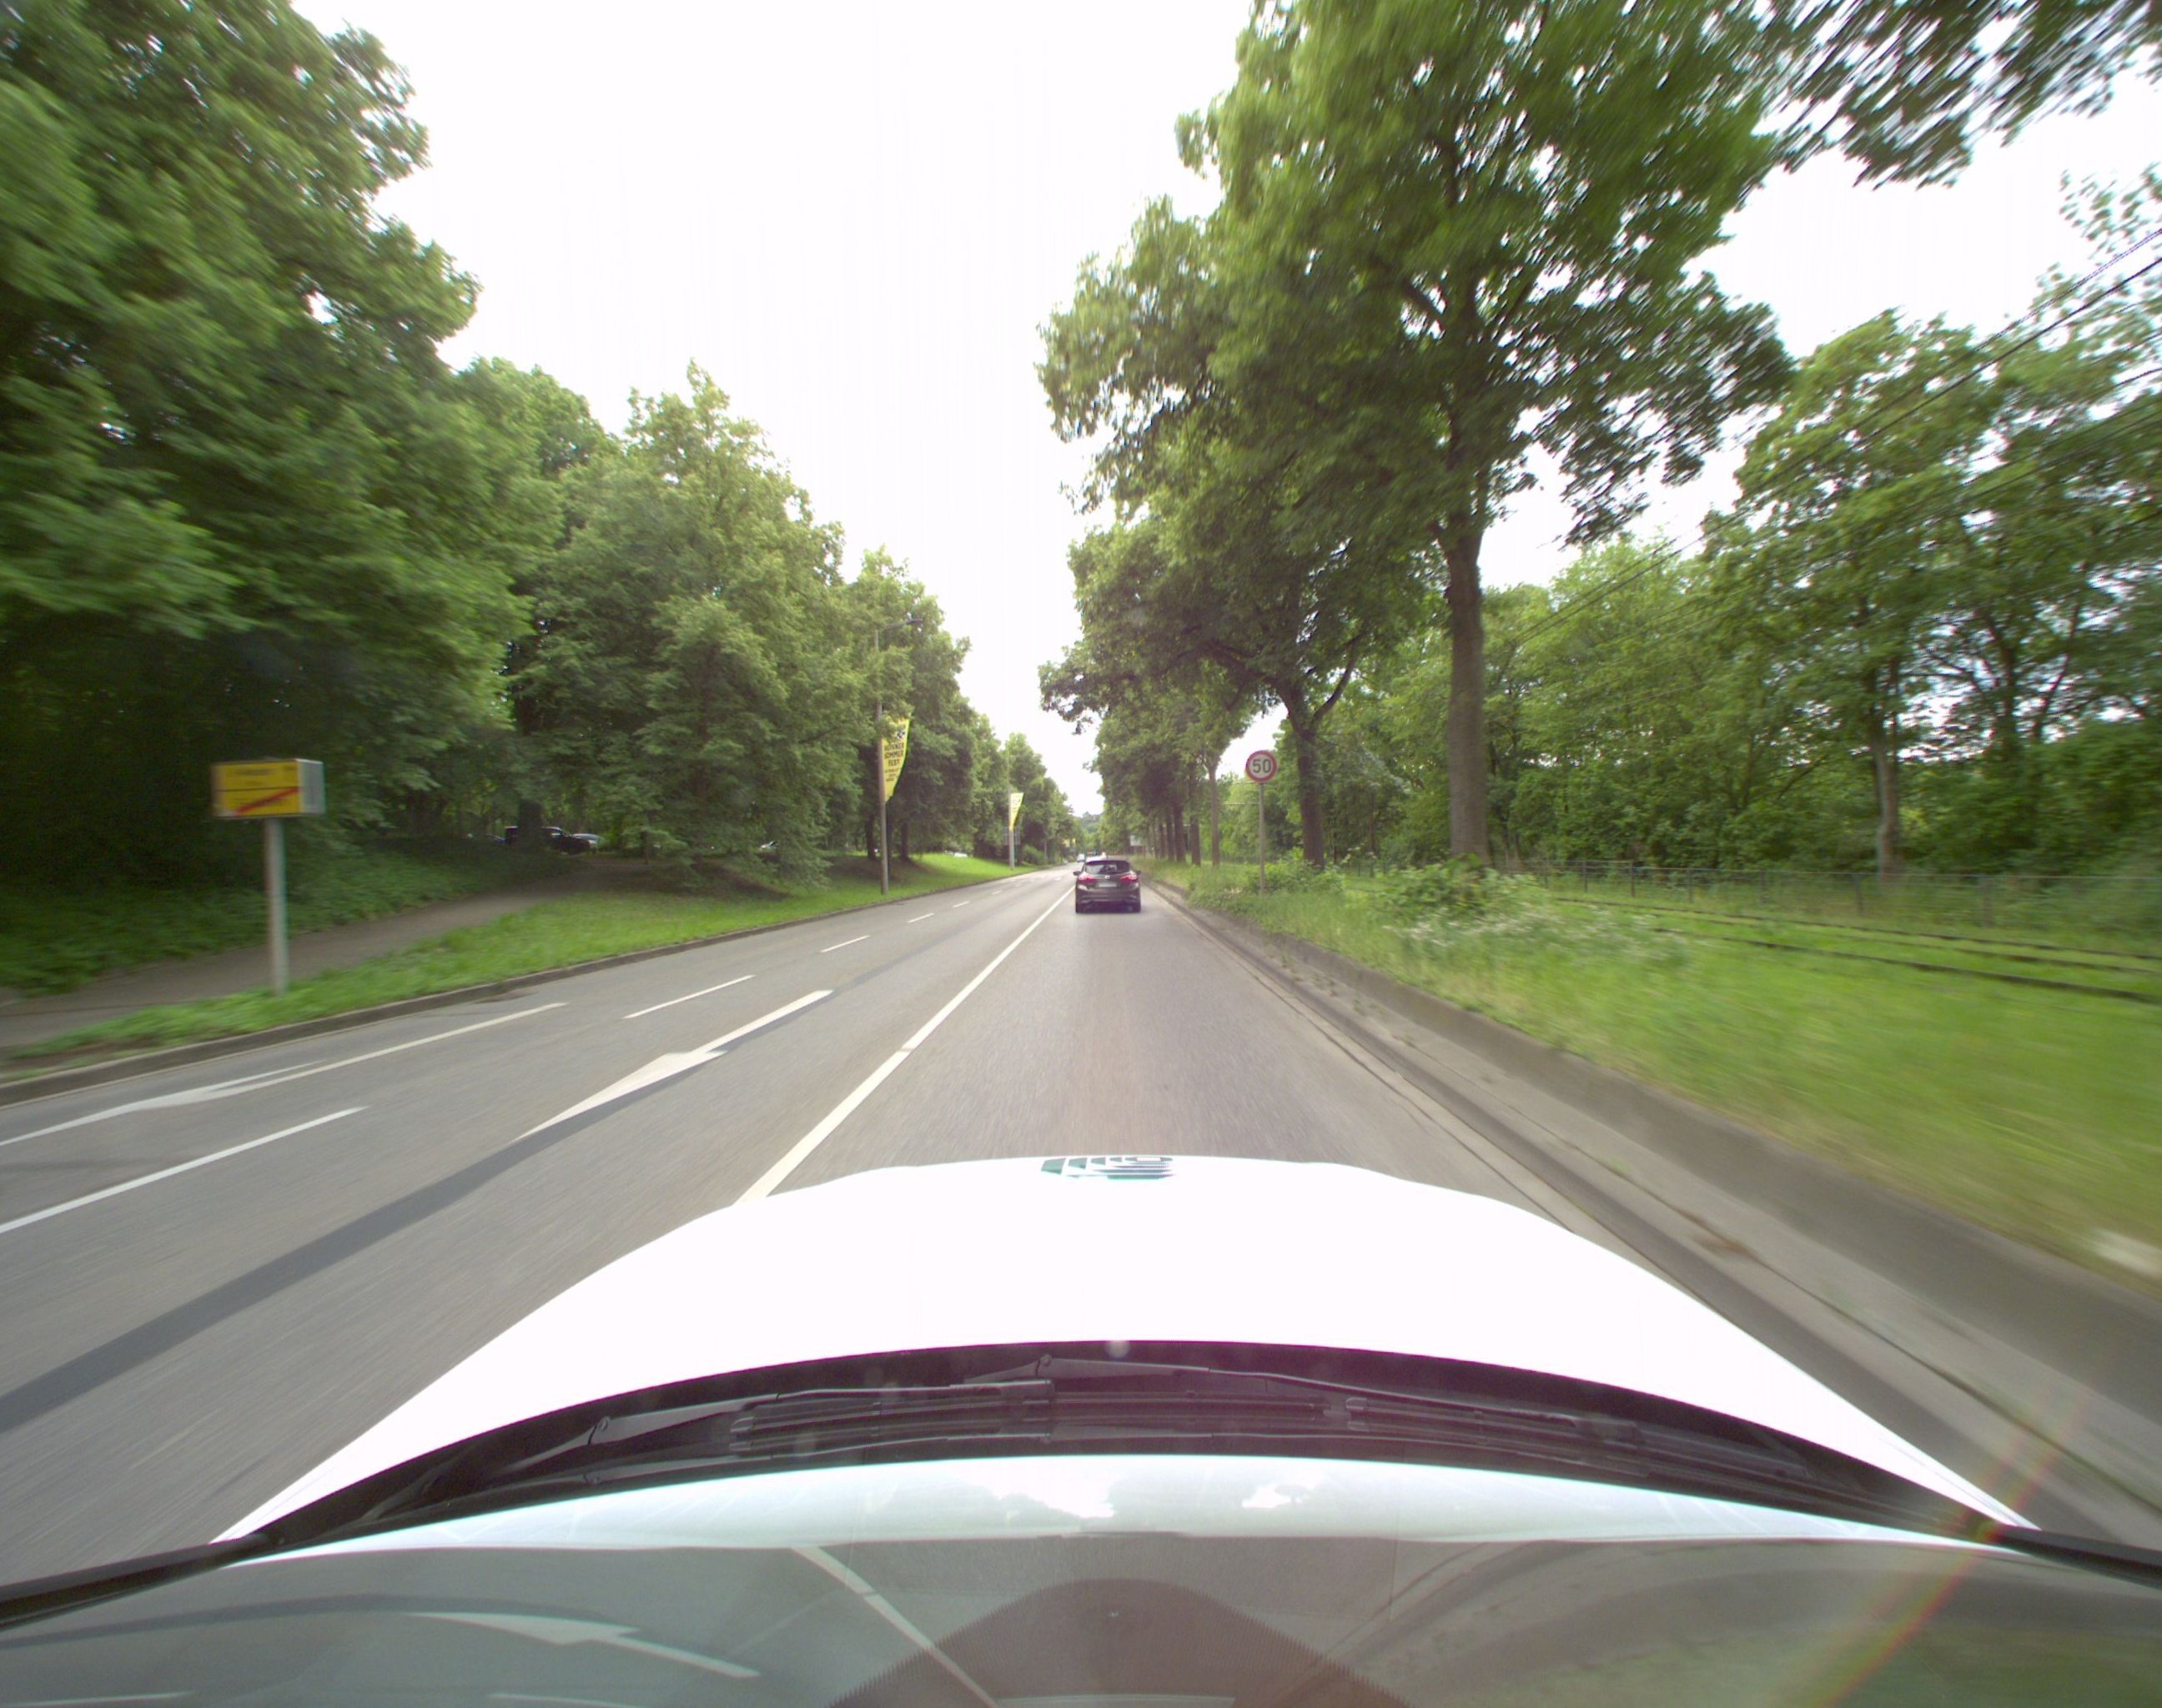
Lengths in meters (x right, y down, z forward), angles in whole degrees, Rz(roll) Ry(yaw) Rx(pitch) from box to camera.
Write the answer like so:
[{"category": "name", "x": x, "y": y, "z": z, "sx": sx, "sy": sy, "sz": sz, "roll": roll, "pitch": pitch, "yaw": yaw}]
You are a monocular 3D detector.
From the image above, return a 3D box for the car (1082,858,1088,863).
[{"category": "car", "x": 0.844, "y": 1.452, "z": 188.738, "sx": 1.273, "sy": 1.226, "sz": 3.780, "roll": -1, "pitch": 0, "yaw": 2}]

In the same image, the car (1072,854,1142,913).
[{"category": "car", "x": 0.795, "y": 0.784, "z": 23.258, "sx": 1.829, "sy": 1.529, "sz": 3.932, "roll": -1, "pitch": -1, "yaw": 3}]

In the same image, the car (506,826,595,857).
[{"category": "car", "x": -35.618, "y": -0.809, "z": 54.761, "sx": 4.868, "sy": 2.031, "sz": 1.545, "roll": 0, "pitch": 0, "yaw": -38}]
